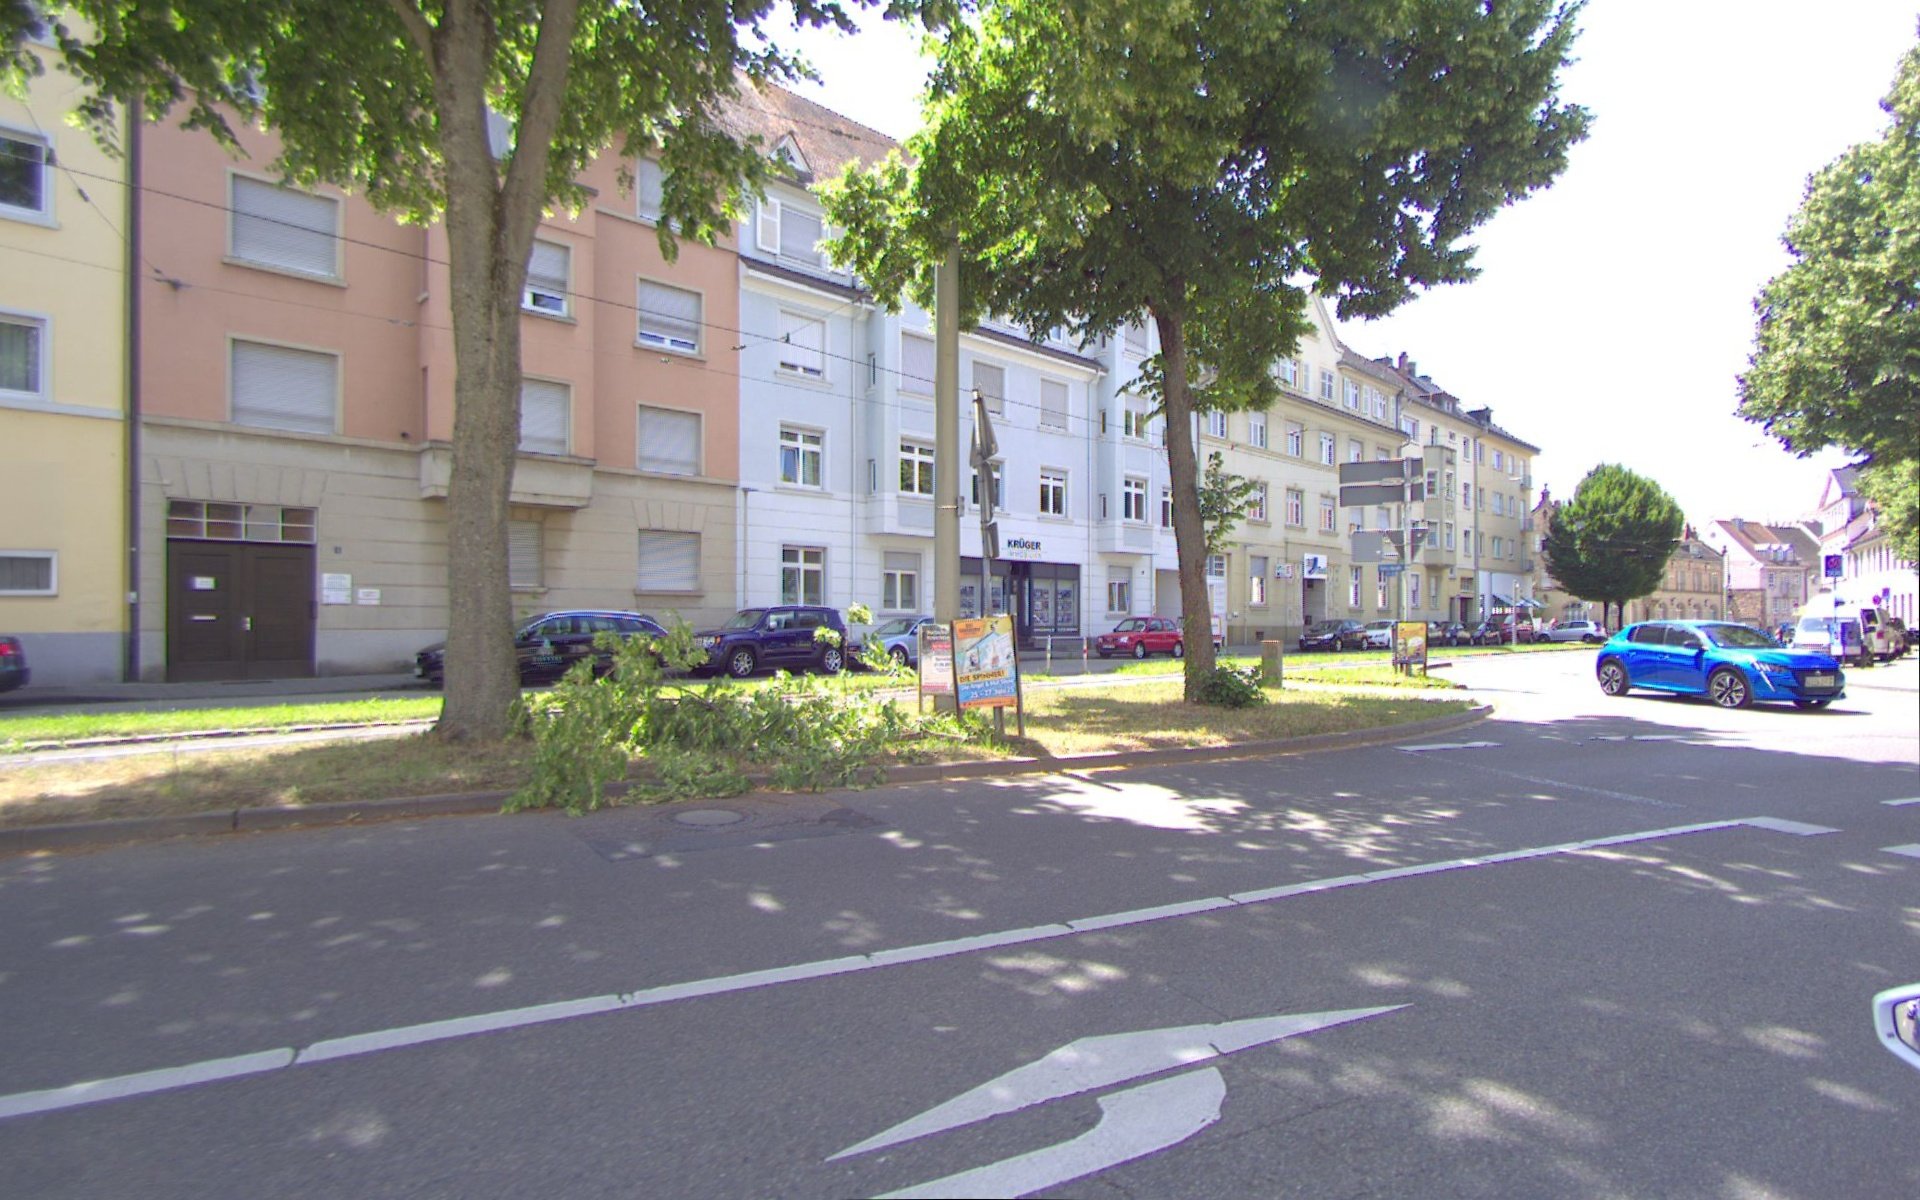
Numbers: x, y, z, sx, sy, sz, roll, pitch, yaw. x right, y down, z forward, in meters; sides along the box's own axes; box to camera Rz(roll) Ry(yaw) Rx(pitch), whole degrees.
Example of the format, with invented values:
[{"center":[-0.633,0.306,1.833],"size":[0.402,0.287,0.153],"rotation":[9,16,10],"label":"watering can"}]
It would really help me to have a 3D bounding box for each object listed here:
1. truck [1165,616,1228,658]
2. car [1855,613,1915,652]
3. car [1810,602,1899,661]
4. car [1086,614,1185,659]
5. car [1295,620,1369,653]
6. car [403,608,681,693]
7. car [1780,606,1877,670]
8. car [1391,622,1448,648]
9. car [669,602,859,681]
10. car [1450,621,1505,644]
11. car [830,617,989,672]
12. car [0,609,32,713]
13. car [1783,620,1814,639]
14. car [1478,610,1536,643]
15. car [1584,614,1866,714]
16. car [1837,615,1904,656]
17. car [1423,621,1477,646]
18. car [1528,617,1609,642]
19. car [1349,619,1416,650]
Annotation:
[{"center":[8.924,1.389,37.792],"size":[1.114,1.514,2.578],"rotation":[-3,-3,44],"label":"truck"},{"center":[43.264,1.495,46.954],"size":[4.170,1.716,1.766],"rotation":[1,-1,-43],"label":"car"},{"center":[33.047,1.108,37.070],"size":[5.212,2.029,2.030],"rotation":[1,-1,-43],"label":"car"},{"center":[6.087,1.255,34.649],"size":[3.602,1.470,1.556],"rotation":[1,-3,-45],"label":"car"},{"center":[16.789,1.637,45.259],"size":[3.832,1.378,1.670],"rotation":[1,-3,-45],"label":"car"},{"center":[-8.262,0.958,20.179],"size":[4.831,1.510,1.909],"rotation":[1,-3,-45],"label":"car"},{"center":[26.942,1.123,31.104],"size":[4.394,1.850,1.973],"rotation":[1,-1,-45],"label":"car"},{"center":[24.101,1.832,52.617],"size":[3.267,1.294,1.670],"rotation":[1,-3,-45],"label":"car"},{"center":[-4.594,0.962,23.919],"size":[4.116,1.707,1.818],"rotation":[1,-3,-45],"label":"car"},{"center":[30.413,1.910,58.946],"size":[4.236,1.294,1.625],"rotation":[1,-3,-45],"label":"car"},{"center":[-1.302,1.183,27.213],"size":[4.222,1.374,1.789],"rotation":[1,-3,-45],"label":"car"},{"center":[-15.353,0.854,13.052],"size":[4.829,1.416,1.909],"rotation":[1,-3,-44],"label":"car"},{"center":[68.524,2.369,82.133],"size":[1.838,1.506,3.982],"rotation":[0,-1,39],"label":"car"},{"center":[34.047,1.662,62.426],"size":[4.740,1.936,1.835],"rotation":[1,-3,-45],"label":"car"},{"center":[13.280,1.028,17.792],"size":[1.781,1.512,3.997],"rotation":[0,0,-4],"label":"car"},{"center":[38.205,1.449,42.107],"size":[4.454,1.645,1.766],"rotation":[1,-1,-43],"label":"car"},{"center":[27.257,1.856,55.820],"size":[3.563,1.294,1.586],"rotation":[1,-3,-45],"label":"car"},{"center":[39.457,1.923,65.142],"size":[4.157,1.524,1.993],"rotation":[-3,-3,42],"label":"car"},{"center":[20.685,1.669,49.133],"size":[3.832,1.408,1.670],"rotation":[1,-3,-45],"label":"car"}]
